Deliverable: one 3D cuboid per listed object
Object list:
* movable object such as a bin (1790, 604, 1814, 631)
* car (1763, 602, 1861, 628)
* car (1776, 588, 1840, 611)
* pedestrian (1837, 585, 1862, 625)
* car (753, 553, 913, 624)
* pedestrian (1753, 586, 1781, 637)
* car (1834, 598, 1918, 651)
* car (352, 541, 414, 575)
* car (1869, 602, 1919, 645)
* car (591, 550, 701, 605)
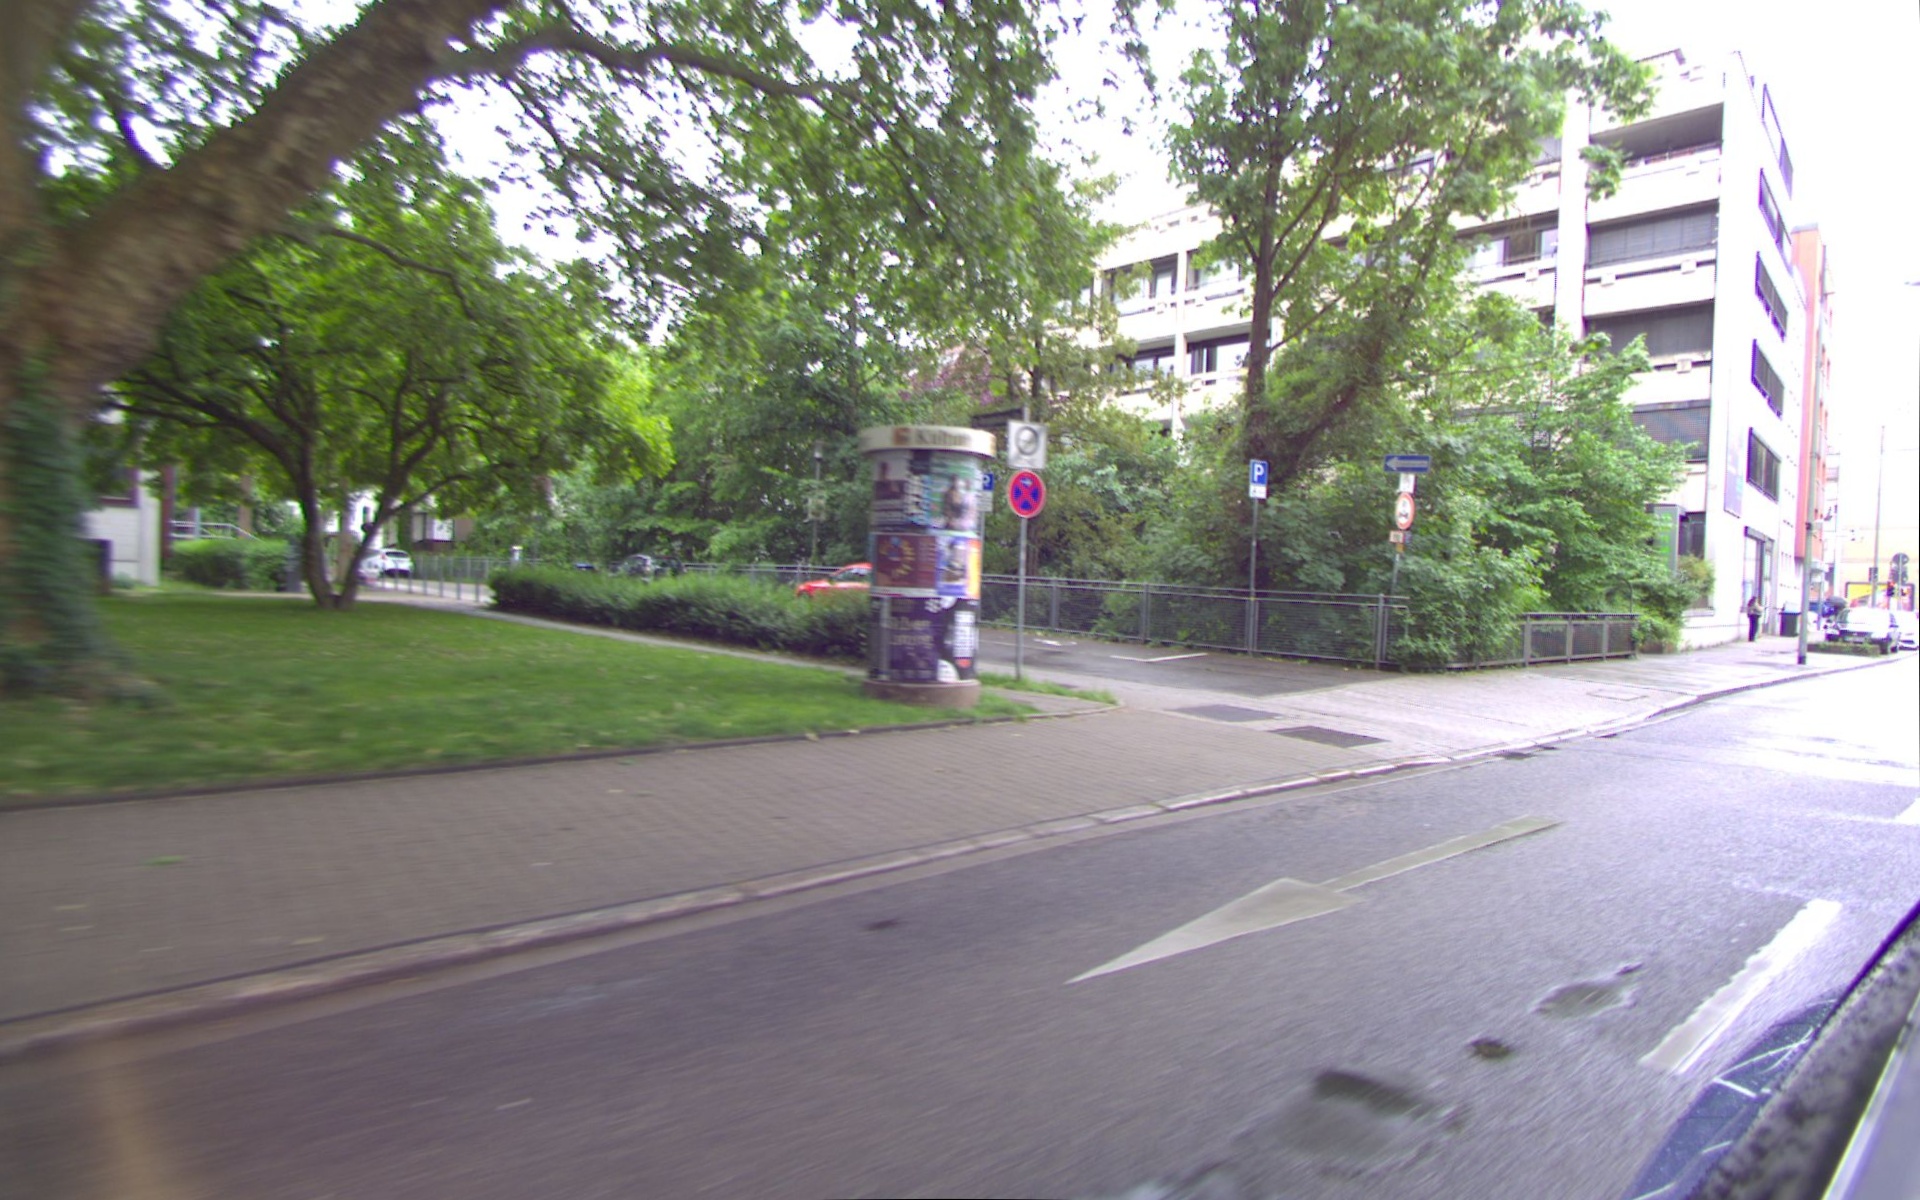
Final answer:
[{"bbox_3d":[35.274,0.731,42.380,0.505,1.117,0.680,1,1,-42],"label":"movable object such as a bin"},{"bbox_3d":[55.437,0.950,65.908,1.726,1.588,4.687,1,0,-39],"label":"car"},{"bbox_3d":[72.760,-0.056,86.887,1.801,1.732,3.800,1,1,-21],"label":"car"},{"bbox_3d":[49.537,0.286,56.364,0.797,2.180,0.732,2,1,26],"label":"pedestrian"},{"bbox_3d":[-3.202,-0.347,25.054,3.989,1.499,1.847,4,4,44],"label":"car"},{"bbox_3d":[27.947,0.391,35.038,0.598,1.679,0.681,7,4,42],"label":"pedestrian"},{"bbox_3d":[30.684,0.771,33.876,3.740,1.577,1.705,0,3,-43],"label":"car"},{"bbox_3d":[-29.485,-2.177,51.668,3.923,1.590,1.708,4,3,44],"label":"car"},{"bbox_3d":[35.806,0.878,38.137,4.493,1.437,1.834,1,3,-43],"label":"car"},{"bbox_3d":[-10.108,-0.750,32.426,1.707,1.590,3.924,0,3,-45],"label":"car"}]
